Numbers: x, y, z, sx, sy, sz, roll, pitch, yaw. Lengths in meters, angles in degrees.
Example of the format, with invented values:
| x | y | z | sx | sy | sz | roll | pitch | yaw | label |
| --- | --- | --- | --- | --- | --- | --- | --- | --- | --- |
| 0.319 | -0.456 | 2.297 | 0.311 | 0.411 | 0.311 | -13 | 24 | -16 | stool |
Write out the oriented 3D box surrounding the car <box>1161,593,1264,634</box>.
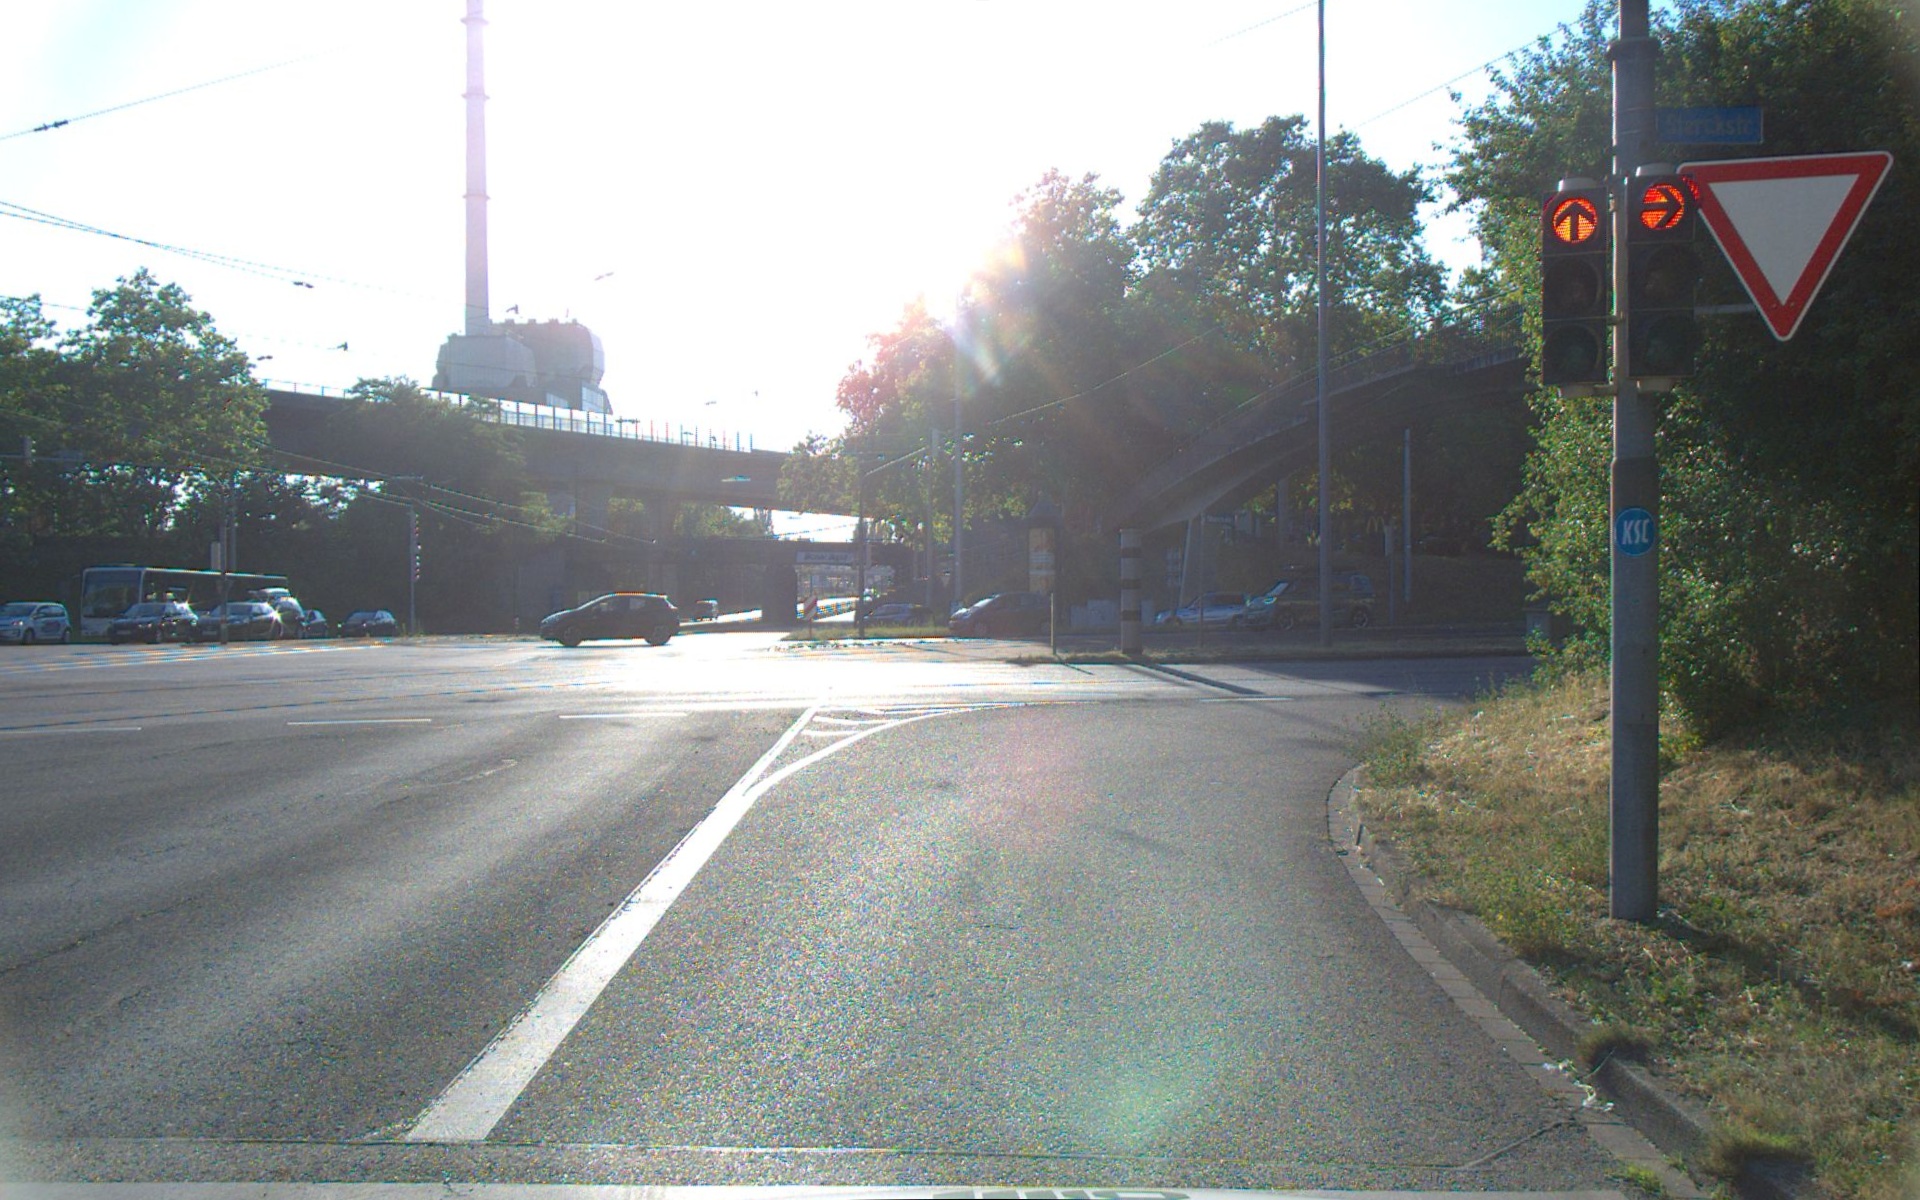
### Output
| x | y | z | sx | sy | sz | roll | pitch | yaw | label |
| --- | --- | --- | --- | --- | --- | --- | --- | --- | --- |
| 10.362 | 0.548 | 68.088 | 4.116 | 1.681 | 1.718 | 0 | 0 | 7 | car |

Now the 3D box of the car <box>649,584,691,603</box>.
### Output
| x | y | z | sx | sy | sz | roll | pitch | yaw | label |
| --- | --- | --- | --- | --- | --- | --- | --- | --- | --- |
| -28.814 | -0.654 | 164.475 | 1.957 | 1.802 | 3.991 | 1 | 0 | 31 | car |

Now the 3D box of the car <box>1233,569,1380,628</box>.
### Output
| x | y | z | sx | sy | sz | roll | pitch | yaw | label |
| --- | --- | --- | --- | --- | --- | --- | --- | --- | --- |
| 11.791 | -0.037 | 56.246 | 4.625 | 1.939 | 1.987 | 0 | 0 | -22 | car |

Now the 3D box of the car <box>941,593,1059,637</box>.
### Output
| x | y | z | sx | sy | sz | roll | pitch | yaw | label |
| --- | --- | --- | --- | --- | --- | --- | --- | --- | --- |
| 1.349 | 0.489 | 55.913 | 3.666 | 1.447 | 1.687 | 0 | 0 | -20 | car |

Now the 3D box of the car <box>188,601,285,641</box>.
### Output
| x | y | z | sx | sy | sz | roll | pitch | yaw | label |
| --- | --- | --- | --- | --- | --- | --- | --- | --- | --- |
| -25.732 | 0.716 | 58.989 | 1.676 | 1.378 | 4.095 | 0 | 0 | 0 | car |

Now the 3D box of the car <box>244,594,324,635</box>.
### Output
| x | y | z | sx | sy | sz | roll | pitch | yaw | label |
| --- | --- | --- | --- | --- | --- | --- | --- | --- | --- |
| -28.245 | 0.598 | 69.271 | 1.676 | 1.681 | 4.095 | 0 | 0 | 0 | car |

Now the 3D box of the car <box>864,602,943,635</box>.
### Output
| x | y | z | sx | sy | sz | roll | pitch | yaw | label |
| --- | --- | --- | --- | --- | --- | --- | --- | --- | --- |
| -2.638 | 0.822 | 76.240 | 1.677 | 1.447 | 4.100 | 0 | 0 | -35 | car |

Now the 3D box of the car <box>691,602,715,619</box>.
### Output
| x | y | z | sx | sy | sz | roll | pitch | yaw | label |
| --- | --- | --- | --- | --- | --- | --- | --- | --- | --- |
| -26.580 | 1.056 | 170.949 | 1.675 | 1.681 | 4.096 | 0 | 0 | 3 | car |

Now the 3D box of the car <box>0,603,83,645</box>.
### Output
| x | y | z | sx | sy | sz | roll | pitch | yaw | label |
| --- | --- | --- | --- | --- | --- | --- | --- | --- | --- |
| -32.130 | 0.805 | 57.326 | 1.572 | 1.378 | 3.732 | 0 | 0 | -3 | car |

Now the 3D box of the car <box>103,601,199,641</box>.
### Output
| x | y | z | sx | sy | sz | roll | pitch | yaw | label |
| --- | --- | --- | --- | --- | --- | --- | --- | --- | --- |
| -28.534 | 0.726 | 58.439 | 1.572 | 1.378 | 3.998 | 0 | 0 | -3 | car |

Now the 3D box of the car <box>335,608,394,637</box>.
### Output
| x | y | z | sx | sy | sz | roll | pitch | yaw | label |
| --- | --- | --- | --- | --- | --- | --- | --- | --- | --- |
| -31.216 | 1.161 | 86.802 | 1.665 | 1.467 | 4.000 | 0 | 0 | 0 | car |

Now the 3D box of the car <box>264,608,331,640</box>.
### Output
| x | y | z | sx | sy | sz | roll | pitch | yaw | label |
| --- | --- | --- | --- | --- | --- | --- | --- | --- | --- |
| -32.003 | 1.154 | 80.017 | 1.665 | 1.467 | 4.000 | 0 | 0 | 0 | car |

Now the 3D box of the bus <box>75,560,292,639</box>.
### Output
| x | y | z | sx | sy | sz | roll | pitch | yaw | label |
| --- | --- | --- | --- | --- | --- | --- | --- | --- | --- |
| -32.117 | -0.030 | 69.300 | 2.764 | 3.006 | 12.855 | 0 | 0 | 1 | bus |

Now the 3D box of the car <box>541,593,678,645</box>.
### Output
| x | y | z | sx | sy | sz | roll | pitch | yaw | label |
| --- | --- | --- | --- | --- | --- | --- | --- | --- | --- |
| -10.041 | 0.533 | 47.358 | 3.666 | 1.447 | 1.687 | 0 | 0 | -20 | car |
